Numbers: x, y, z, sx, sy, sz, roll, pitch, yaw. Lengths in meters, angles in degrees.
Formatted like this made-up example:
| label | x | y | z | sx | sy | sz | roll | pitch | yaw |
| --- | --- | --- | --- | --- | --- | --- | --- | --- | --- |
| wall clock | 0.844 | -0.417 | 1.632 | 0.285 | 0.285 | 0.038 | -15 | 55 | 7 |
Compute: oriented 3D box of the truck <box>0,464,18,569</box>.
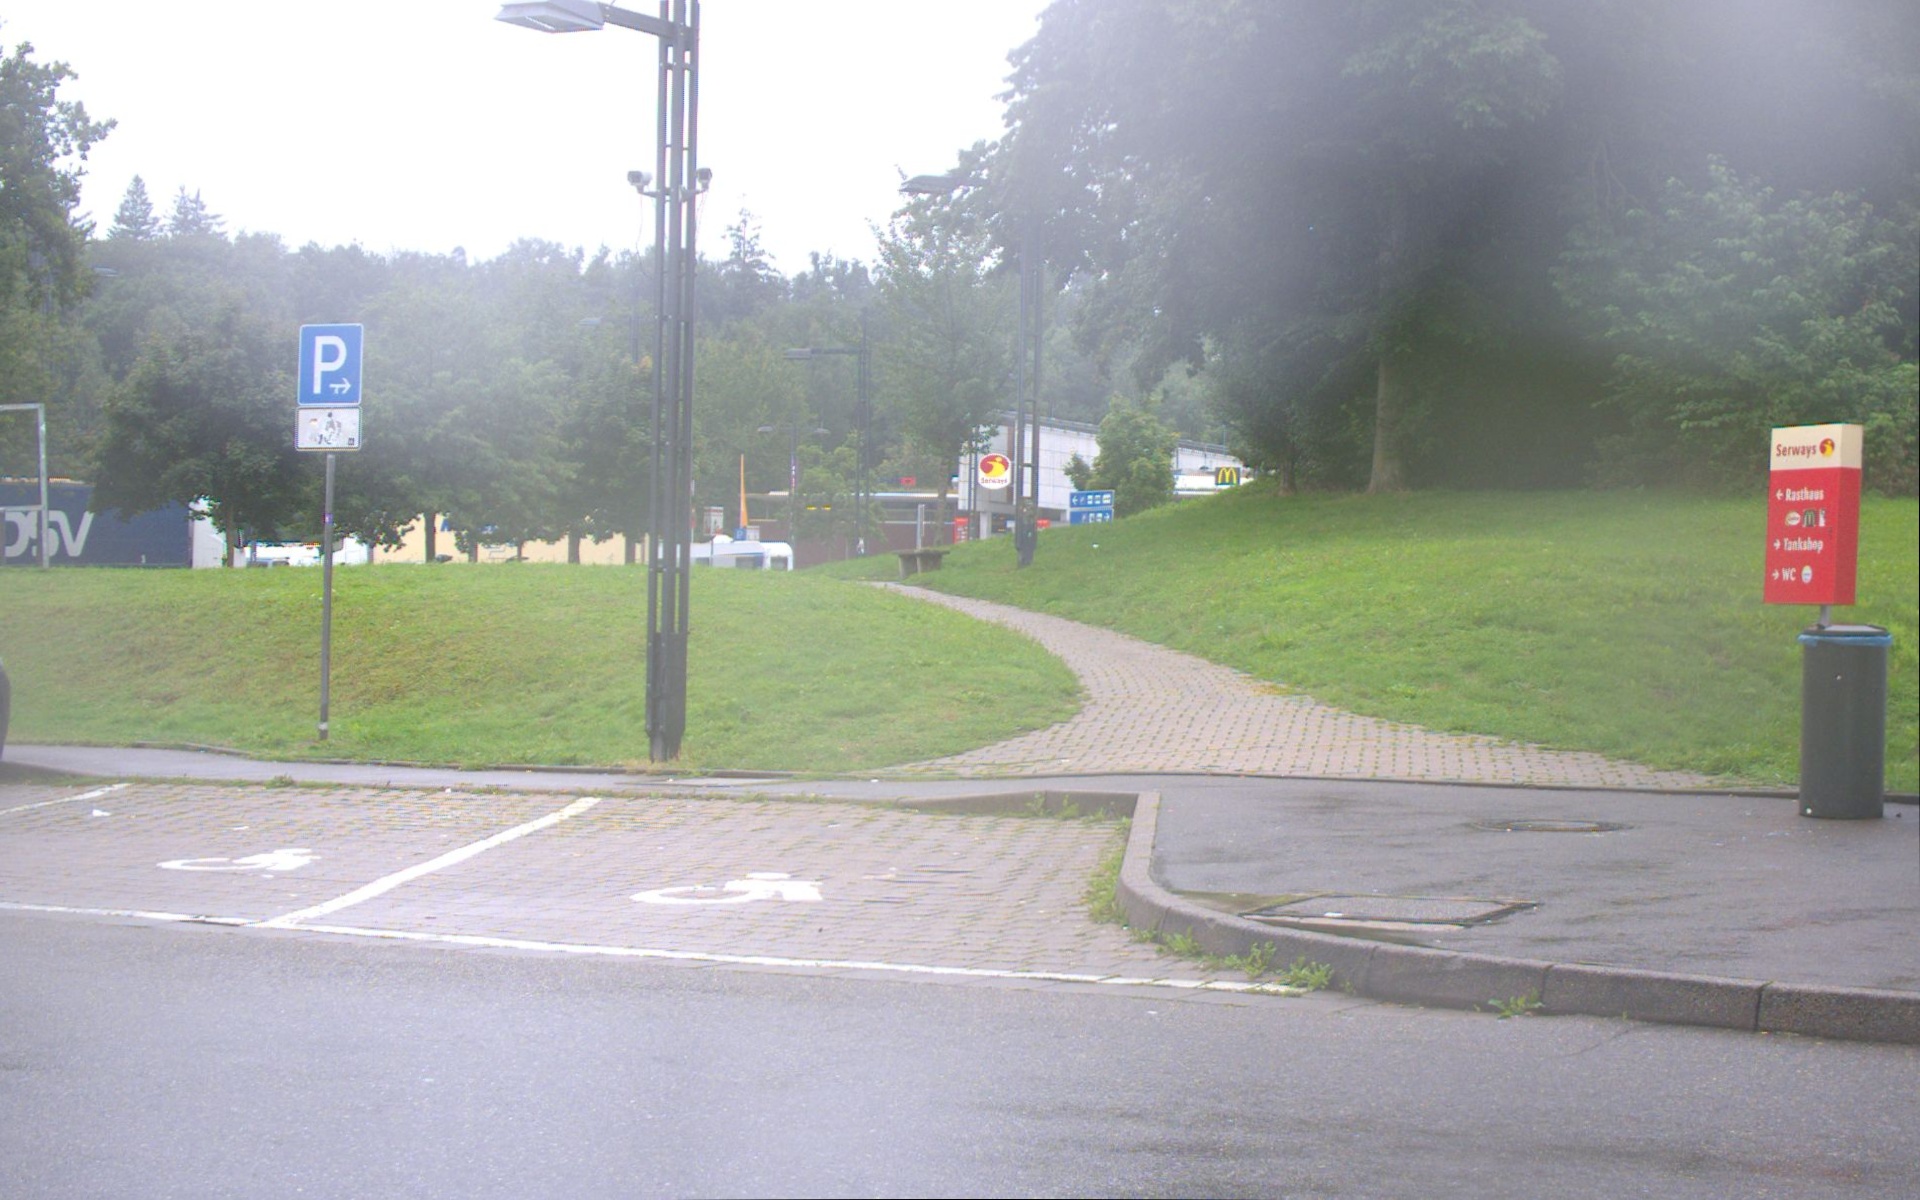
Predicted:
| label | x | y | z | sx | sy | sz | roll | pitch | yaw |
| --- | --- | --- | --- | --- | --- | --- | --- | --- | --- |
| truck | -28.606 | -2.343 | 94.648 | 2.189 | 2.910 | 5.380 | 1 | 1 | 24 |

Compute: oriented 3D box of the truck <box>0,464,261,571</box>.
| label | x | y | z | sx | sy | sz | roll | pitch | yaw |
| --- | --- | --- | --- | --- | --- | --- | --- | --- | --- |
| truck | -25.468 | -2.368 | 101.618 | 2.188 | 2.910 | 13.082 | 1 | 1 | 24 |

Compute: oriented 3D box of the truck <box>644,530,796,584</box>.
| label | x | y | z | sx | sy | sz | roll | pitch | yaw |
| --- | --- | --- | --- | --- | --- | --- | --- | --- | --- |
| truck | -9.331 | -1.665 | 133.796 | 5.413 | 2.007 | 2.364 | 1 | 1 | 25 |

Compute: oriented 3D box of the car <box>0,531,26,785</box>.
| label | x | y | z | sx | sy | sz | roll | pitch | yaw |
| --- | --- | --- | --- | --- | --- | --- | --- | --- | --- |
| car | -7.803 | 0.453 | 21.481 | 2.018 | 1.705 | 4.341 | -1 | 1 | 12 |
